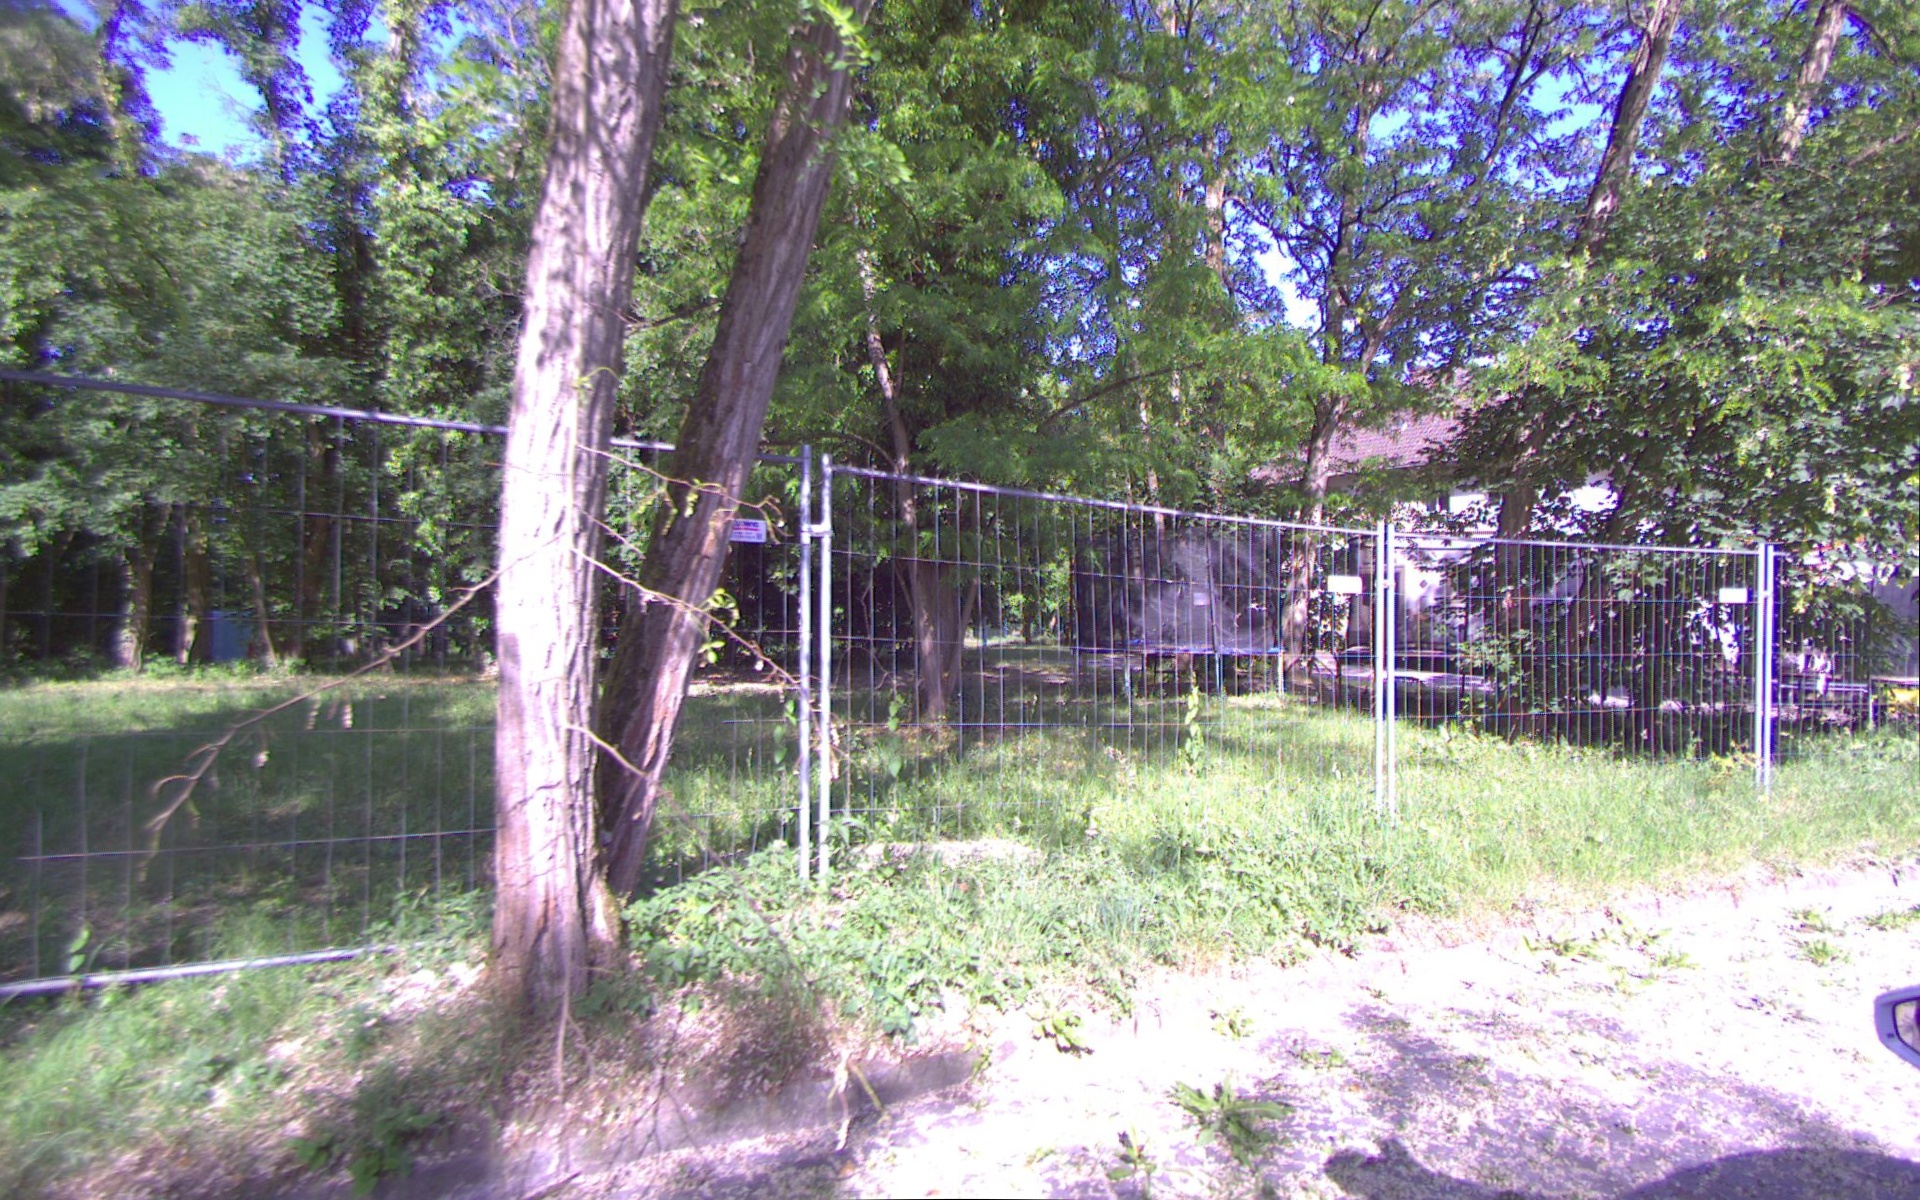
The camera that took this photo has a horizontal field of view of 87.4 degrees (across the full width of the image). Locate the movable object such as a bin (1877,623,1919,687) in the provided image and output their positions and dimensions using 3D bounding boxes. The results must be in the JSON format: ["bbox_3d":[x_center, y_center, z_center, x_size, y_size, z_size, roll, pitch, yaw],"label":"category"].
[{"bbox_3d":[31.716,1.755,30.987,1.915,1.996,4.836,2,-2,-37],"label":"movable object such as a bin"}]
